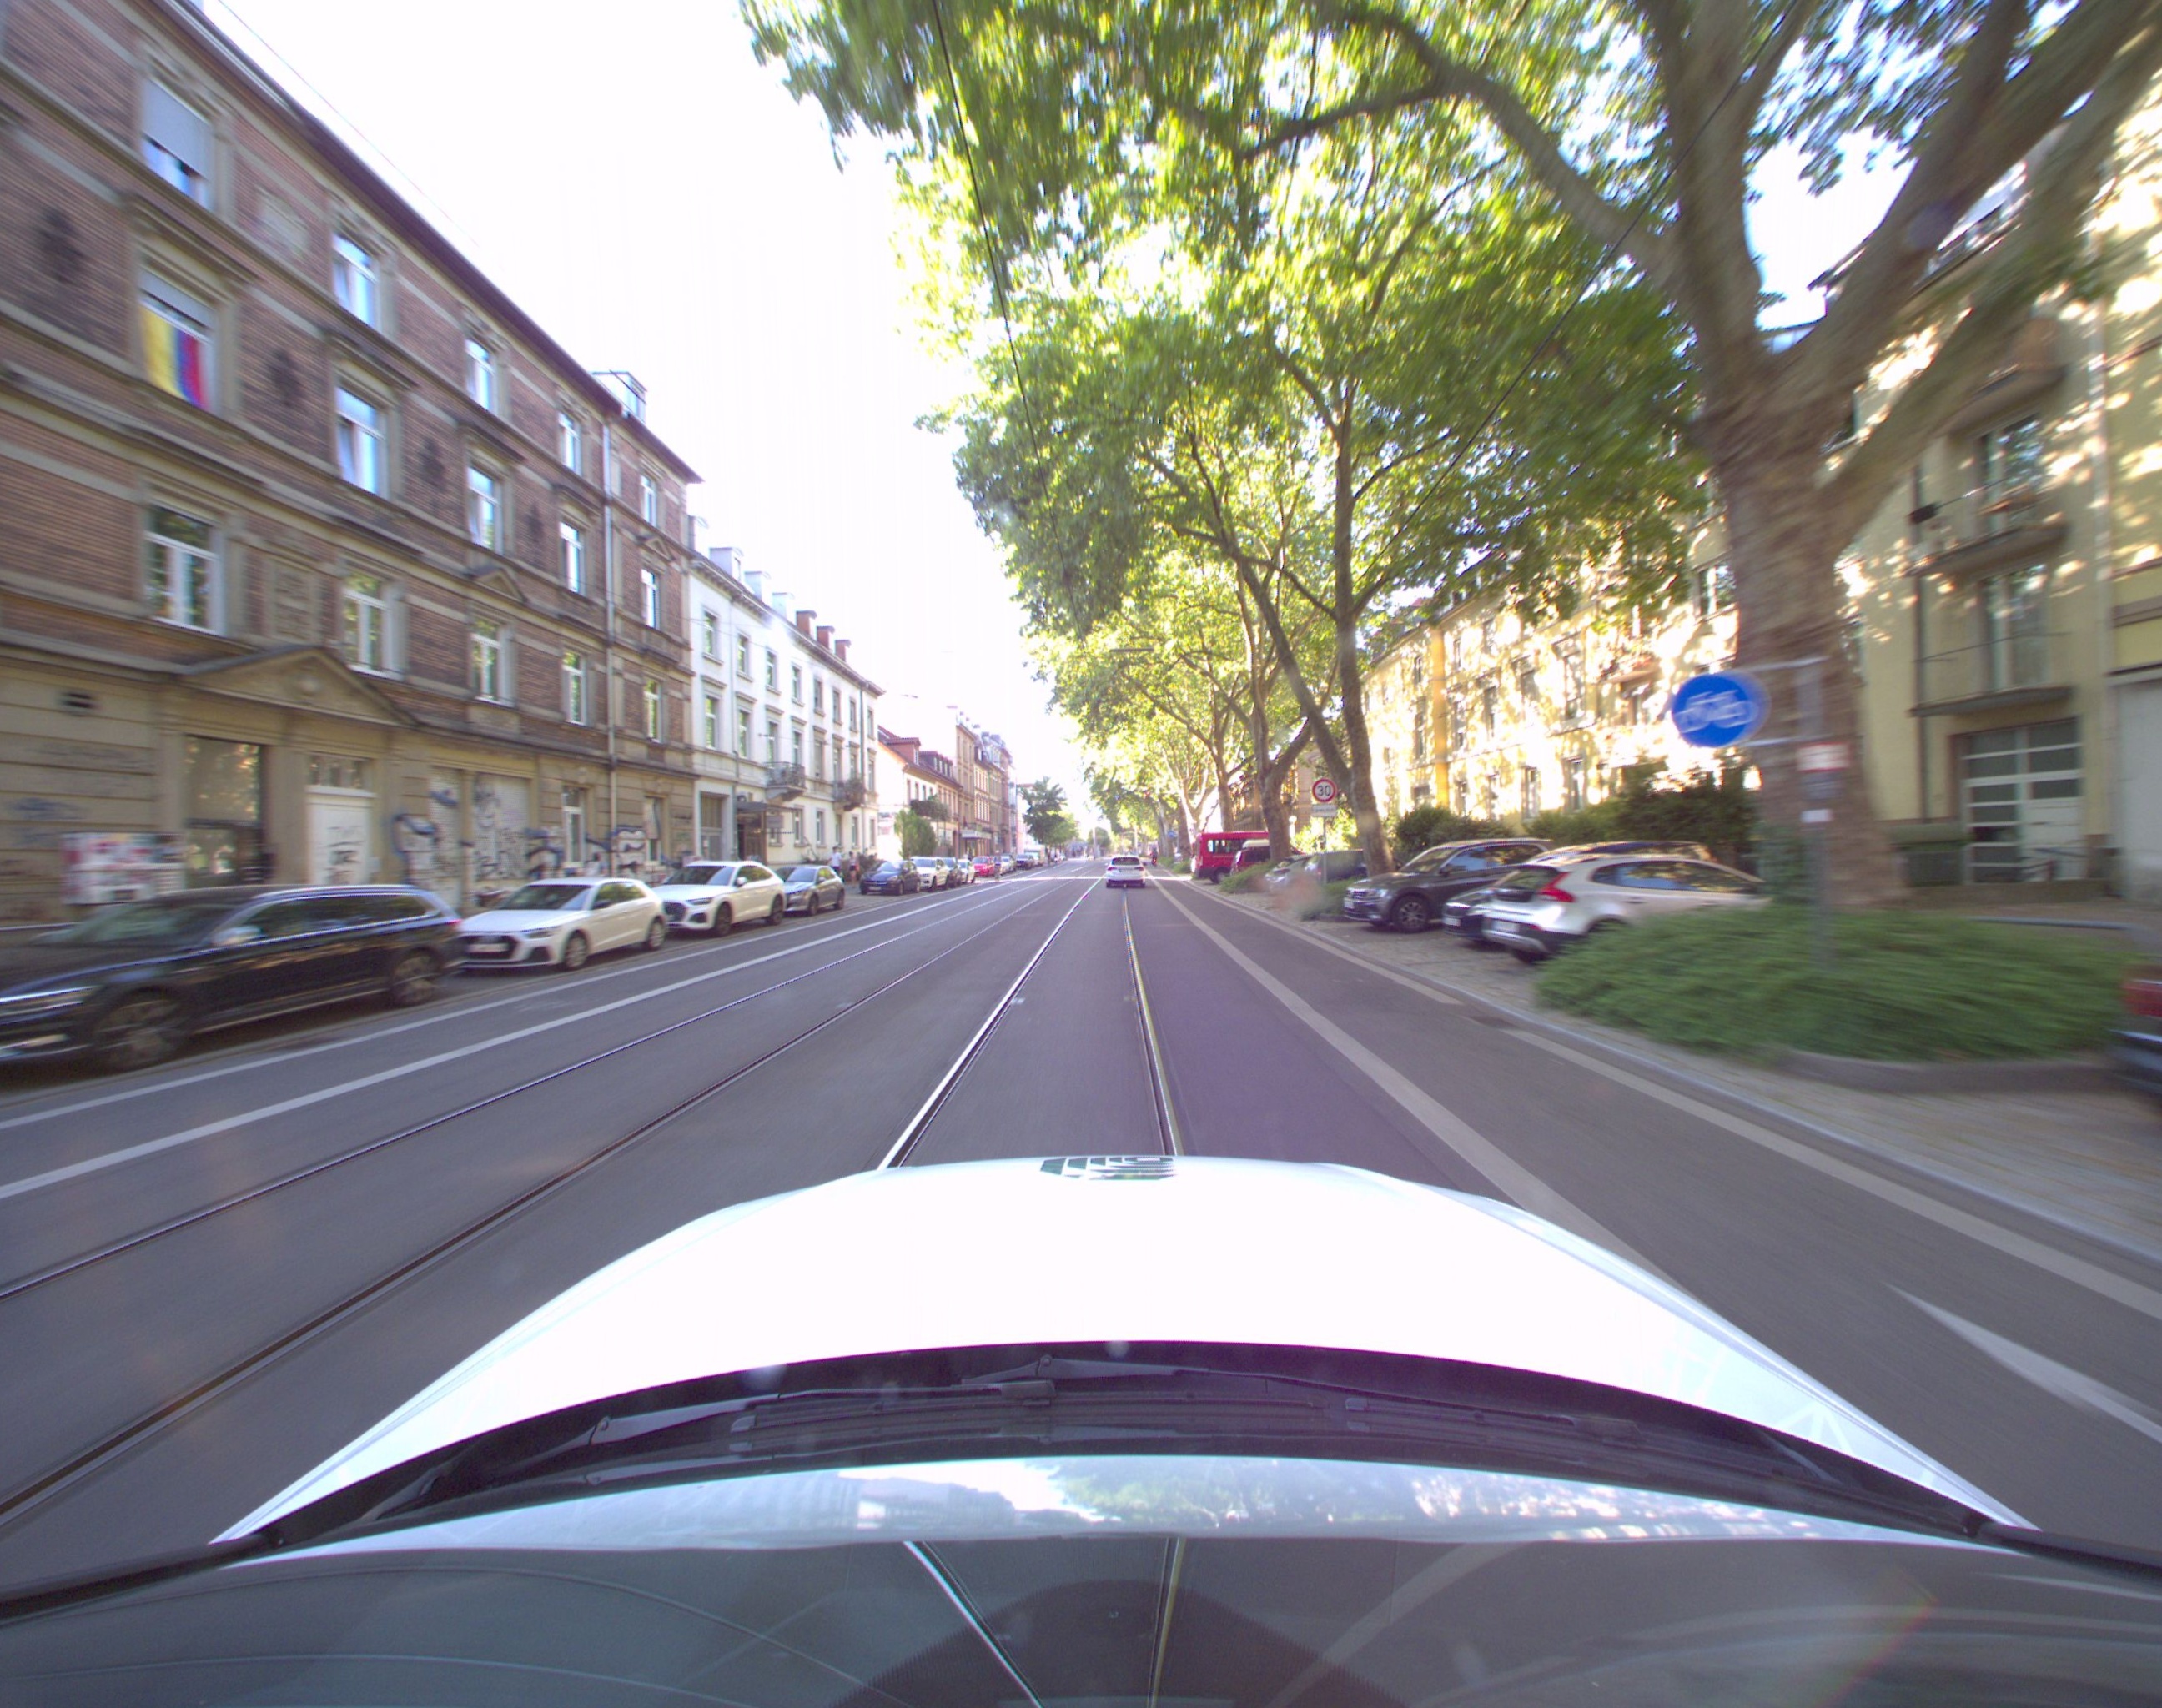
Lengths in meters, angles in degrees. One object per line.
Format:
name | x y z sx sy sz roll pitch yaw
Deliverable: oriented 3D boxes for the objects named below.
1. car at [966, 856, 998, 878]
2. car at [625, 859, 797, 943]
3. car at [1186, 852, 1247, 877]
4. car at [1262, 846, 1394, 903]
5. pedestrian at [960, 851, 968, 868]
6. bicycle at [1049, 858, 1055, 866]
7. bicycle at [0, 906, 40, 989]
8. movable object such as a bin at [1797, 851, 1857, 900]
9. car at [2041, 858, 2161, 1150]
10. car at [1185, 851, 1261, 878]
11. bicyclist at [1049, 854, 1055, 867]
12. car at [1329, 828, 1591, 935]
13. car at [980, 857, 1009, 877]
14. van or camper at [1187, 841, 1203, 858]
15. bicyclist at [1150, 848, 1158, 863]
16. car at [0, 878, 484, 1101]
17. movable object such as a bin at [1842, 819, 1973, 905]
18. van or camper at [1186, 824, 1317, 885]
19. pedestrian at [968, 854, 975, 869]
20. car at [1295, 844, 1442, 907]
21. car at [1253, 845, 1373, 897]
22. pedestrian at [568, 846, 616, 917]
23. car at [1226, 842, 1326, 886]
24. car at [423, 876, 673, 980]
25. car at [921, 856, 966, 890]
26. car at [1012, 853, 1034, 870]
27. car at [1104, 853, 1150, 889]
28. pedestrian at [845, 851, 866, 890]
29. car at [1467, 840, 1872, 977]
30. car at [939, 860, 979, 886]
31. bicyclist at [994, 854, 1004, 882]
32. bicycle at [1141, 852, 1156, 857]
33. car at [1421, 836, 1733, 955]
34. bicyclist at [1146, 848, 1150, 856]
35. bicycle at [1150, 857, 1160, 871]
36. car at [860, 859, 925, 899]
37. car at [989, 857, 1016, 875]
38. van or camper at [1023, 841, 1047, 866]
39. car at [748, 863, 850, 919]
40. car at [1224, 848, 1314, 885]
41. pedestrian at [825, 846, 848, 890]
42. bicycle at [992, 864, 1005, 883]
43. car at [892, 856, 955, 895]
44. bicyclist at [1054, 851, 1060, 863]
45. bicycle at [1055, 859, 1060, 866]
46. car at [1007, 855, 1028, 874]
car | -7.293 0.952 60.513 1.561 1.562 3.455 -2 0 6
car | -8.562 0.998 19.381 1.779 1.723 4.721 0 0 2
car | 8.903 0.670 53.755 3.736 1.508 1.682 2 0 2
car | 7.633 0.625 25.443 3.581 1.517 1.694 -3 0 2
pedestrian | -11.613 0.530 80.970 0.773 1.634 0.654 0 -1 -14
bicycle | -3.760 1.040 105.011 0.482 1.047 2.041 -3 0 4
bicycle | -13.906 1.205 9.808 0.371 1.034 1.848 -1 0 -1
movable object such as a bin | 15.055 0.422 16.445 0.745 0.943 0.466 -3 0 2
car | 7.559 0.732 3.713 4.075 1.491 1.684 -2 0 6
car | 8.447 0.612 48.656 4.267 1.417 1.762 -3 0 3
bicyclist | -3.737 0.822 105.227 0.533 1.634 0.897 -3 -1 4
car | 7.362 0.514 16.133 4.249 1.719 1.848 -4 0 -1
car | -6.986 1.049 66.354 1.821 1.502 4.688 0 0 0
van or camper | 16.720 -0.578 119.665 2.018 2.464 5.114 0 0 4
bicyclist | 6.360 0.145 70.624 0.676 1.339 0.525 0 -1 2
car | -8.928 1.093 8.537 1.734 1.562 4.787 0 0 1
movable object such as a bin | 14.874 0.133 14.697 1.162 1.437 1.118 -3 0 2
van or camper | 8.218 0.014 39.688 5.796 2.519 2.287 -3 1 0
pedestrian | -10.883 0.760 81.151 0.636 1.460 0.654 0 -1 -14
car | 8.006 0.591 22.877 3.581 1.599 1.542 -2 -1 2
car | 8.059 0.587 28.481 3.656 1.523 1.694 -4 0 2
pedestrian | -11.810 0.644 19.685 0.656 1.665 0.773 -1 -1 34
car | 8.316 0.437 34.993 3.807 1.649 1.766 -3 -1 -1
car | -8.751 1.127 13.853 1.695 1.420 3.997 0 0 -2
car | -7.560 1.008 45.037 1.852 1.703 4.654 -2 0 -3
car | -6.201 0.759 87.801 1.957 1.781 4.938 1 0 1
car | 1.978 0.724 36.250 1.836 1.480 3.838 0 0 0
pedestrian | -10.623 0.758 38.400 0.757 1.821 0.830 -1 0 -1
car | 7.430 0.647 10.566 4.014 1.480 1.681 -2 0 0
car | -7.526 1.140 50.553 1.680 1.477 4.260 0 0 2
bicyclist | -4.957 0.853 49.250 0.471 1.636 0.800 -2 0 3
bicycle | 13.151 0.077 158.385 2.748 0.999 0.595 0 -1 16
car | 7.900 0.628 13.223 4.015 1.643 1.681 -2 0 0
bicyclist | 13.054 -0.333 158.432 0.731 1.589 0.589 -2 0 14
bicycle | 6.367 0.827 70.330 0.677 1.155 2.966 0 0 2
car | -7.973 1.020 34.820 1.547 1.515 3.929 -2 0 5
car | -6.849 1.060 71.169 1.820 1.502 4.451 0 0 1
van or camper | -5.930 -0.089 105.840 2.207 3.140 7.121 0 0 4
car | -8.414 1.055 24.670 1.657 1.521 4.064 0 0 0
car | 8.643 0.563 37.665 3.723 1.530 1.668 -2 0 -1
pedestrian | -11.547 0.664 38.503 0.757 2.013 0.830 -1 0 0
bicycle | -4.970 1.158 49.160 0.479 1.086 1.847 -2 0 3
car | -7.596 0.984 39.734 1.849 1.703 4.766 -2 0 3
bicyclist | -3.224 0.421 110.424 0.635 1.503 1.070 -3 -1 3
bicycle | -3.187 1.154 110.634 0.496 0.943 1.923 -3 0 4
car | -5.873 0.975 75.660 1.550 1.732 3.687 0 0 1
